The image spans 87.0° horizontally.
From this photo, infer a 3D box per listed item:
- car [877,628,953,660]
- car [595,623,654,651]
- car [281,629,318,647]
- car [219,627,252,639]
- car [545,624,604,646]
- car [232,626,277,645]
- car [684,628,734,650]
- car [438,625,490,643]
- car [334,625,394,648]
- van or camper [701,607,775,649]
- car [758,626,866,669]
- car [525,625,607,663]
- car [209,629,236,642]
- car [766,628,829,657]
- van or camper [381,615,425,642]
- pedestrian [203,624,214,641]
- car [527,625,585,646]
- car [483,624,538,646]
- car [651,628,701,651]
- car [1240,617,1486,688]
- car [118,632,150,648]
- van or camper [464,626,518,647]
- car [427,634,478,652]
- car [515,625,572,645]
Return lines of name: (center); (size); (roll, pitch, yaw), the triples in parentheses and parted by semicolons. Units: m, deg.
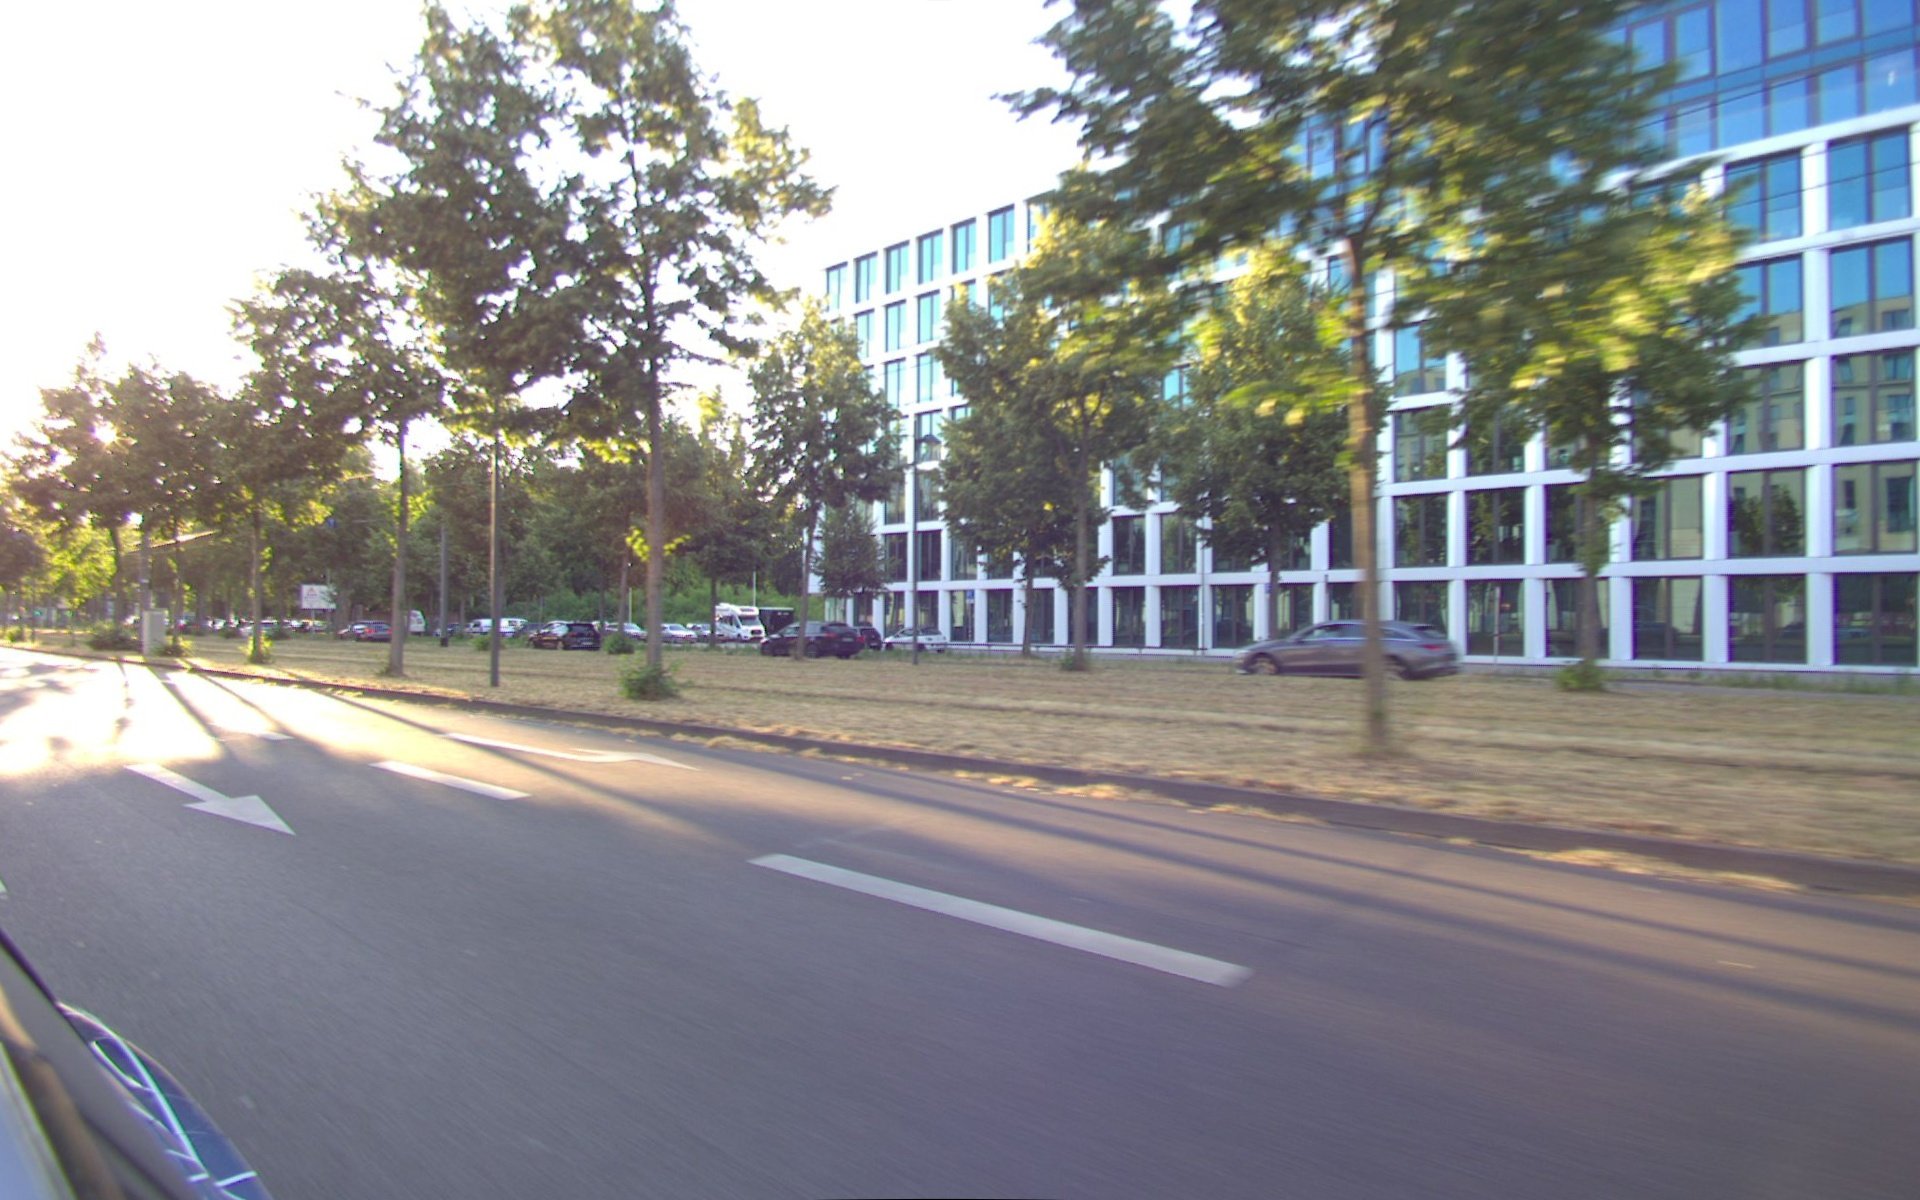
car: (-2.369, 2.248, 52.849); (3.783, 1.594, 1.840); (-2, -2, 42)
car: (-25.175, 2.784, 75.928); (4.929, 2.029, 1.973); (-1, -2, 41)
car: (-68.489, 3.898, 104.952); (4.788, 1.763, 1.973); (-1, -2, 41)
car: (-81.919, 3.686, 114.419); (5.141, 1.325, 1.972); (-1, -2, 42)
car: (-30.331, 2.751, 79.662); (1.919, 1.652, 3.949); (-2, -2, 38)
car: (-52.629, 2.648, 75.476); (4.526, 1.342, 1.640); (-1, -2, 40)
car: (-19.214, 2.950, 77.358); (4.002, 1.652, 1.894); (-2, -2, 45)
car: (-46.319, 3.189, 94.551); (1.919, 1.652, 3.949); (-2, -2, 38)
car: (-36.028, 2.202, 61.109); (4.737, 1.342, 1.640); (-1, -2, 40)
van or camper: (-17.379, 2.181, 79.072); (2.679, 3.109, 6.265); (1, -2, -45)
car: (-5.617, 1.745, 38.111); (4.186, 1.513, 1.640); (-2, -2, 40)
car: (-17.263, 1.893, 44.322); (3.724, 1.559, 1.784); (-2, -2, 40)
car: (-89.339, 4.318, 122.586); (4.305, 1.511, 1.879); (-1, -2, 42)
car: (-9.491, 2.442, 59.019); (3.491, 1.594, 1.840); (-2, -2, 42)
van or camper: (-57.488, 2.922, 104.428); (5.490, 2.756, 2.064); (-1, -2, 40)
pedestrian: (-87.673, 3.802, 118.062); (0.864, 1.884, 0.687); (-1, -2, 35)
car: (-32.506, 2.810, 81.448); (1.919, 1.652, 3.949); (-2, -2, 38)
car: (-39.704, 3.096, 89.435); (2.011, 1.858, 3.945); (-2, -2, 41)
car: (-21.115, 2.920, 75.251); (4.002, 1.652, 1.894); (-2, -2, 45)
car: (8.462, 1.065, 21.507); (4.580, 1.342, 1.640); (-2, -2, 40)
car: (-86.132, 4.158, 105.497); (4.178, 1.590, 1.866); (-1, -2, 40)
van or camper: (-42.245, 3.265, 91.209); (1.993, 1.805, 3.958); (-1, -2, 31)
car: (-48.537, 4.062, 96.900); (1.922, 1.652, 3.944); (-2, -2, 42)
car: (-34.202, 2.850, 83.134); (1.919, 1.652, 3.949); (-2, -2, 38)
